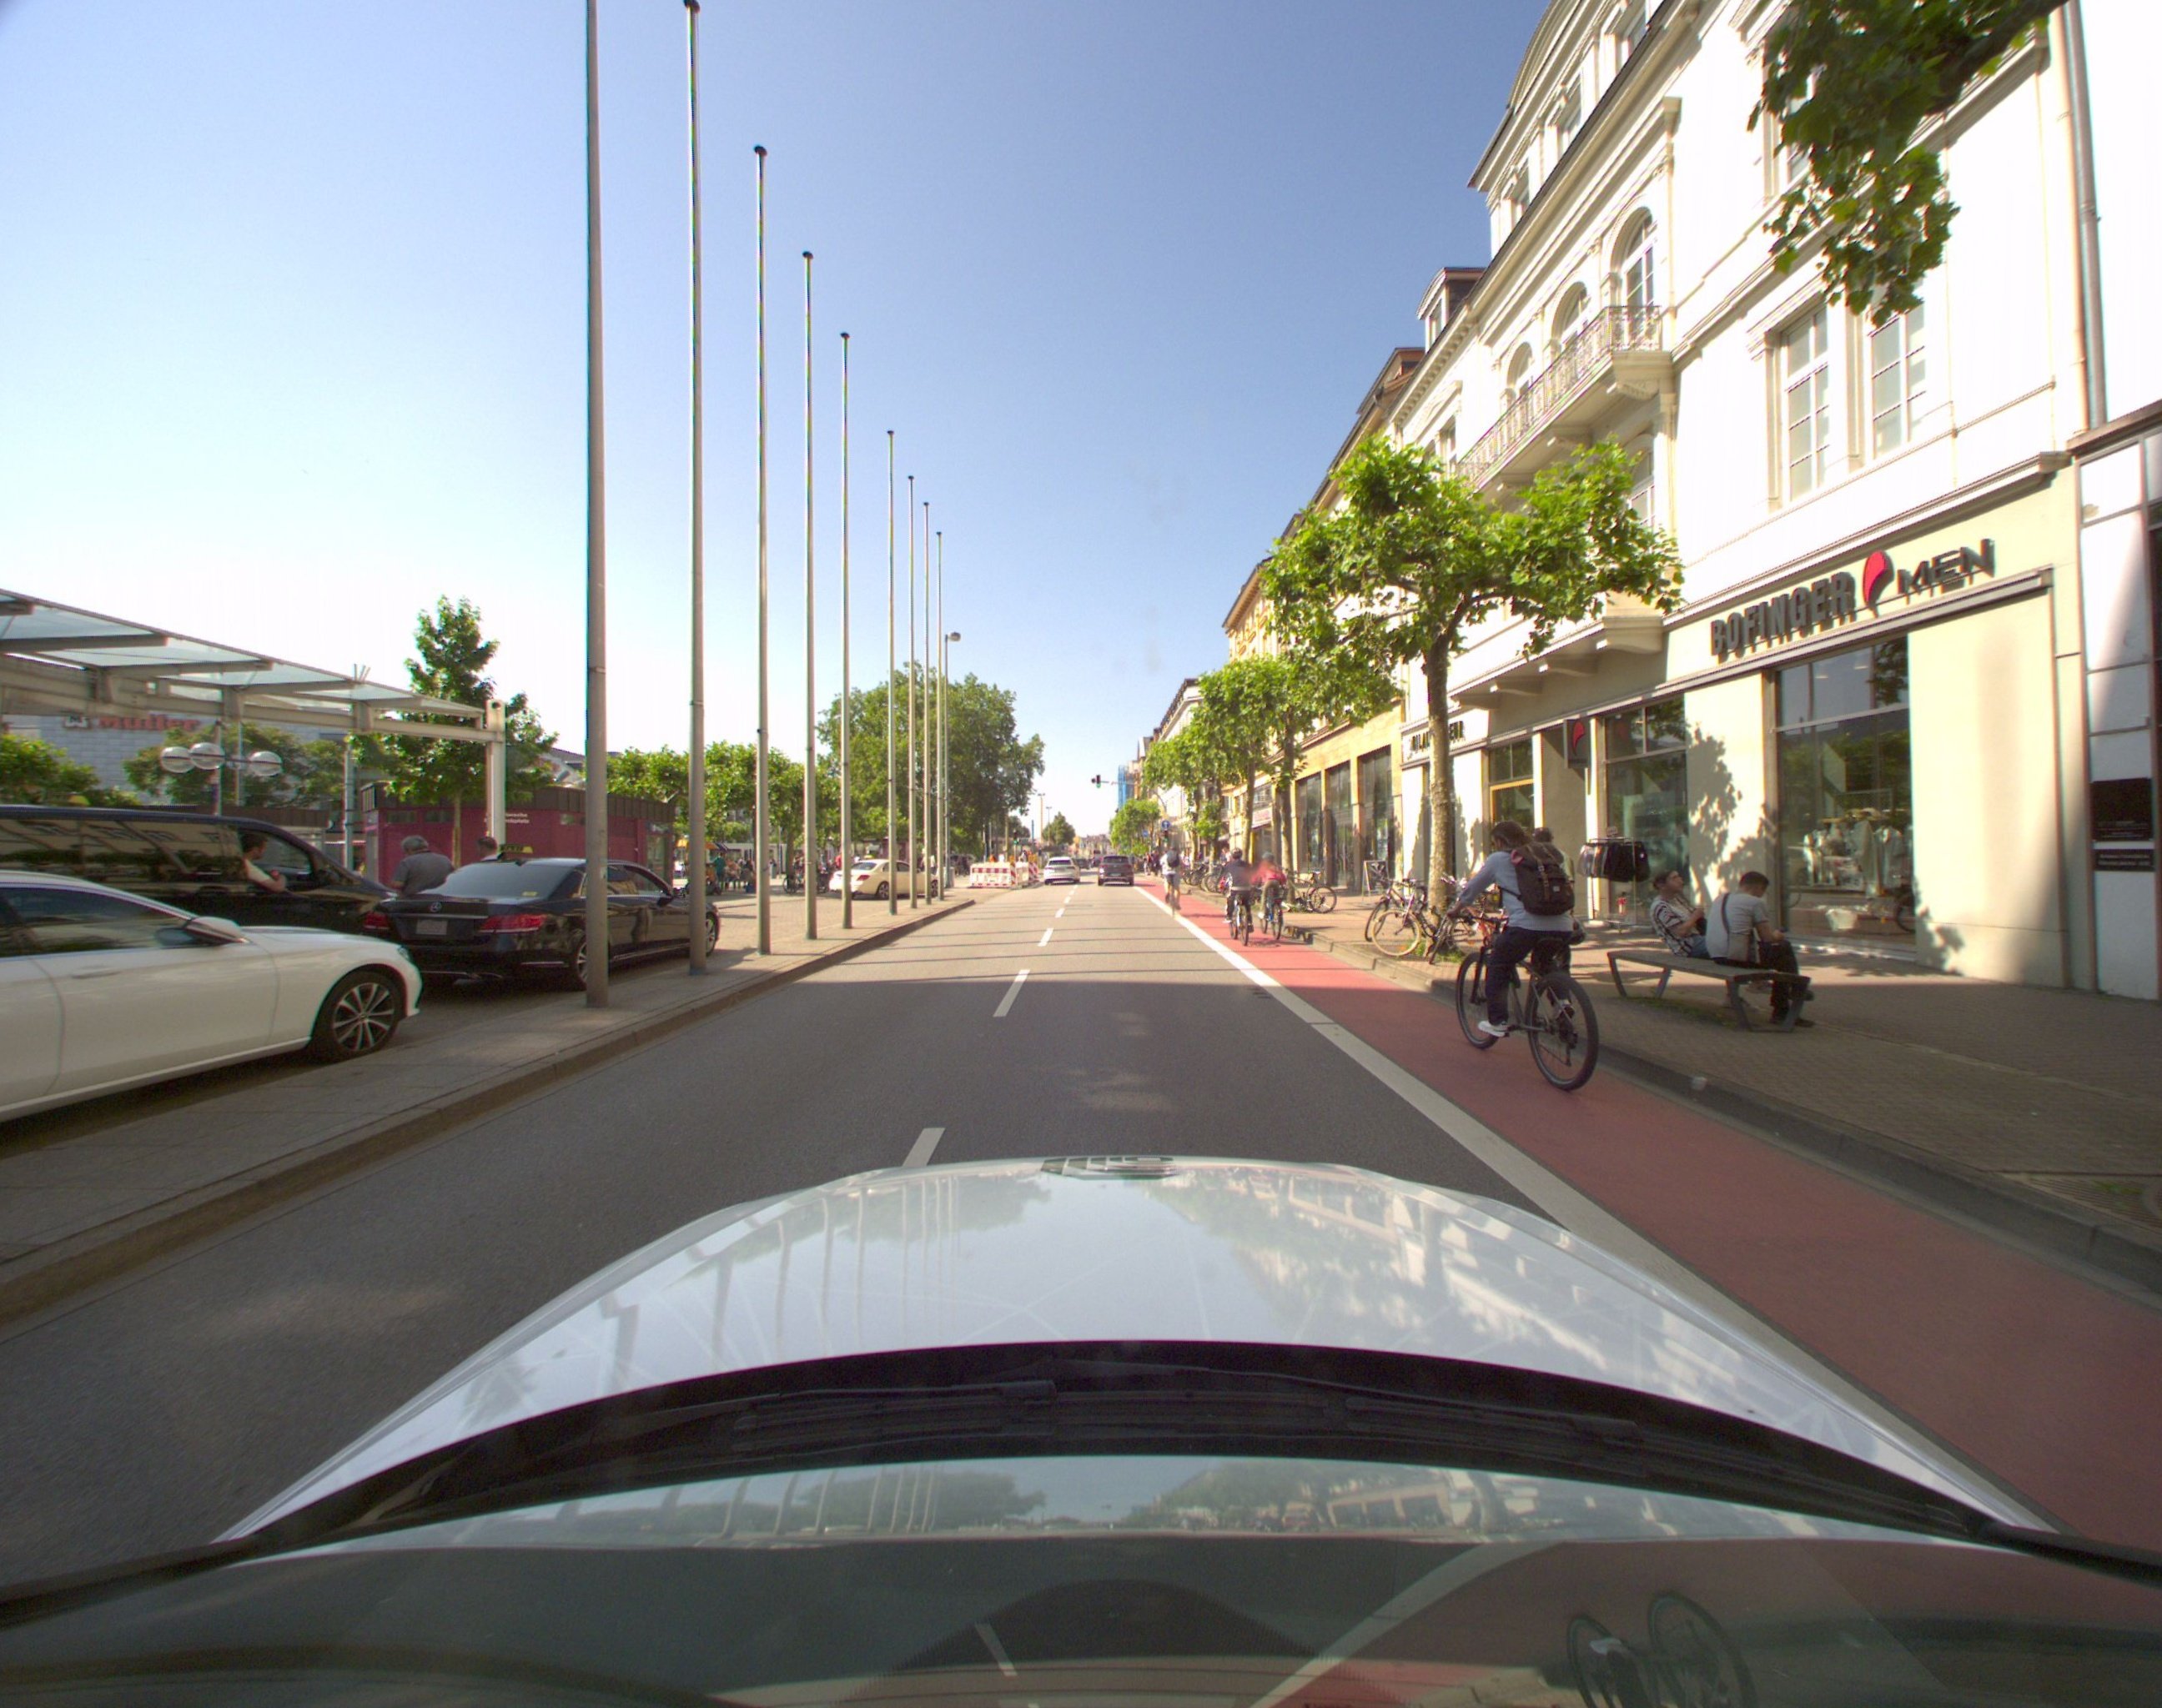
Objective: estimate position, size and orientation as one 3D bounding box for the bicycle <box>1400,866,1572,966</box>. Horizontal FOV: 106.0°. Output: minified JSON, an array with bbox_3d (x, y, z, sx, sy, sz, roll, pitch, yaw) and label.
[{"bbox_3d":[5.059,0.750,10.270,1.830,1.197,0.675,0,-1,7],"label":"bicycle"}]

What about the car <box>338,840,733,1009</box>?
[{"bbox_3d":[-6.250,0.673,10.188,1.755,1.600,4.709,-1,0,0],"label":"car"}]

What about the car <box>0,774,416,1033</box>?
[{"bbox_3d":[-9.296,0.392,7.868,1.826,2.013,4.686,-1,0,1],"label":"car"}]

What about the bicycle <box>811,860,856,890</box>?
[{"bbox_3d":[-10.788,0.909,35.516,1.777,1.309,0.662,0,0,-3],"label":"bicycle"}]

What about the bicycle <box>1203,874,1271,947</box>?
[{"bbox_3d":[2.667,0.935,14.173,0.696,1.127,2.079,1,0,-3],"label":"bicycle"}]

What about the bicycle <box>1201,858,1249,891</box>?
[{"bbox_3d":[5.369,0.754,30.452,1.721,1.217,0.478,0,0,2],"label":"bicycle"}]

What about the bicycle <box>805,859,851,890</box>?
[{"bbox_3d":[-10.734,0.872,34.584,1.777,1.309,0.662,0,0,-3],"label":"bicycle"}]

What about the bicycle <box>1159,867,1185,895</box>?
[{"bbox_3d":[3.528,1.033,31.594,0.771,1.006,2.330,-1,0,1],"label":"bicycle"}]

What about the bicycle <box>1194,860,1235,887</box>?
[{"bbox_3d":[5.606,0.821,34.150,1.642,1.095,0.607,0,0,3],"label":"bicycle"}]

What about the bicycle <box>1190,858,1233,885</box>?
[{"bbox_3d":[5.757,0.773,36.086,1.836,1.201,0.474,0,0,2],"label":"bicycle"}]

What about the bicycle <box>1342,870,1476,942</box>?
[{"bbox_3d":[5.189,0.810,12.990,1.831,1.097,0.795,0,0,5],"label":"bicycle"}]

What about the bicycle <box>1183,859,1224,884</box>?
[{"bbox_3d":[5.706,0.808,38.028,1.836,1.164,0.659,0,0,3],"label":"bicycle"}]

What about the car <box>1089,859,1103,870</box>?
[{"bbox_3d":[2.316,1.571,127.539,1.840,1.668,3.996,1,0,-3],"label":"car"}]

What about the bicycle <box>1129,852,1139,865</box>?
[{"bbox_3d":[4.080,0.354,62.722,0.645,0.998,2.031,-1,0,1],"label":"bicycle"}]

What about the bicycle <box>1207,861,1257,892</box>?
[{"bbox_3d":[5.444,0.815,29.365,1.721,1.109,0.478,0,0,2],"label":"bicycle"}]

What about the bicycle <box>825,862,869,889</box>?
[{"bbox_3d":[-10.607,0.970,36.904,1.777,1.215,0.662,0,0,-3],"label":"bicycle"}]

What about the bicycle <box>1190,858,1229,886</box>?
[{"bbox_3d":[5.623,0.771,35.673,1.642,1.201,0.474,0,0,2],"label":"bicycle"}]

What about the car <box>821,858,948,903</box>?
[{"bbox_3d":[-7.287,0.927,30.773,1.873,1.542,4.891,0,-1,28],"label":"car"}]

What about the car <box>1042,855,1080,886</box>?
[{"bbox_3d":[-1.057,0.877,44.213,1.839,1.560,4.001,-2,0,1],"label":"car"}]

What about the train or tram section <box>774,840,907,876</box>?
[{"bbox_3d":[-25.936,0.378,89.285,2.587,3.676,15.646,-1,0,36],"label":"train or tram section"}]

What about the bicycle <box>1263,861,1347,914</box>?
[{"bbox_3d":[5.232,0.769,19.099,1.831,1.186,0.671,1,-1,5],"label":"bicycle"}]

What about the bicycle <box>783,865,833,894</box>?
[{"bbox_3d":[-10.960,1.006,32.724,1.777,1.132,0.562,0,0,-3],"label":"bicycle"}]

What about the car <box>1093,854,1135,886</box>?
[{"bbox_3d":[1.632,0.770,41.074,1.840,1.559,3.997,0,0,-2],"label":"car"}]

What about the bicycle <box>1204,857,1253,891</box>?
[{"bbox_3d":[5.366,0.741,29.727,1.721,1.217,0.478,0,0,2],"label":"bicycle"}]

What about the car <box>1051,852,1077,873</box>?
[{"bbox_3d":[-1.255,0.613,61.144,1.840,1.449,3.999,-2,0,0],"label":"car"}]

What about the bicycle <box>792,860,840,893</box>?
[{"bbox_3d":[-10.839,0.916,33.295,1.777,1.309,0.562,0,0,-3],"label":"bicycle"}]

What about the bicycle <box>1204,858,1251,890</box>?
[{"bbox_3d":[5.562,0.759,30.942,1.721,1.217,0.478,0,0,2],"label":"bicycle"}]

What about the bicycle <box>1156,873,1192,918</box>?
[{"bbox_3d":[2.235,0.987,19.820,0.628,0.980,2.088,-1,0,0],"label":"bicycle"}]

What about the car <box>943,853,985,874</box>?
[{"bbox_3d":[-11.132,0.933,77.762,1.843,1.955,4.786,-1,-1,22],"label":"car"}]

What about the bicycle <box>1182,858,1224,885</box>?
[{"bbox_3d":[5.533,0.775,36.893,1.836,1.201,0.545,0,0,2],"label":"bicycle"}]

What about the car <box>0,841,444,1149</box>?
[{"bbox_3d":[-6.228,0.690,4.390,1.793,1.523,4.739,0,0,1],"label":"car"}]

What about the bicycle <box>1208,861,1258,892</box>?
[{"bbox_3d":[5.402,0.798,28.946,1.721,1.109,0.402,0,0,2],"label":"bicycle"}]

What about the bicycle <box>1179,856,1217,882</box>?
[{"bbox_3d":[5.917,0.761,41.213,1.827,1.309,0.684,0,0,-20],"label":"bicycle"}]

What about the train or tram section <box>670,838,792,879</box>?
[{"bbox_3d":[-33.581,0.385,78.842,2.587,3.677,11.072,-1,0,36],"label":"train or tram section"}]

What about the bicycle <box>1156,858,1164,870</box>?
[{"bbox_3d":[7.348,0.930,75.778,0.396,1.114,1.433,-2,0,22],"label":"bicycle"}]

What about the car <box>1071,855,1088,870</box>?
[{"bbox_3d":[-0.166,0.952,88.054,1.840,1.560,3.999,-1,0,0],"label":"car"}]

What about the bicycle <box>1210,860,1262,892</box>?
[{"bbox_3d":[5.420,0.767,28.532,1.721,1.109,0.402,0,0,2],"label":"bicycle"}]

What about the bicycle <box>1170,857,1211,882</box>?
[{"bbox_3d":[5.619,0.772,41.812,1.938,1.257,0.701,0,0,-19],"label":"bicycle"}]

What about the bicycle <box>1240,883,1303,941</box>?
[{"bbox_3d":[3.489,1.028,15.090,0.598,0.926,2.086,-1,0,-2],"label":"bicycle"}]

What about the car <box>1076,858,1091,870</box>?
[{"bbox_3d":[0.301,1.290,105.538,1.840,1.413,3.999,-1,0,0],"label":"car"}]

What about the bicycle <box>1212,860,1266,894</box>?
[{"bbox_3d":[5.356,0.774,27.680,1.721,1.109,0.737,0,0,3],"label":"bicycle"}]

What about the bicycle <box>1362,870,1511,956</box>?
[{"bbox_3d":[4.910,0.796,11.336,1.828,1.127,0.499,1,-1,11],"label":"bicycle"}]

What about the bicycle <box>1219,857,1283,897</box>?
[{"bbox_3d":[5.467,0.723,26.198,1.923,1.248,0.737,0,0,3],"label":"bicycle"}]

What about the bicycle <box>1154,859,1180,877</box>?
[{"bbox_3d":[5.525,0.928,52.500,0.604,1.082,1.820,-3,0,-34],"label":"bicycle"}]

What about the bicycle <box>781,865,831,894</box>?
[{"bbox_3d":[-10.817,1.002,32.035,1.777,1.105,0.562,0,0,-3],"label":"bicycle"}]

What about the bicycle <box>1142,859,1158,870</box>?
[{"bbox_3d":[6.516,1.030,76.832,1.415,0.980,0.445,-2,0,1],"label":"bicycle"}]

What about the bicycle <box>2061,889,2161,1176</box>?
[{"bbox_3d":[5.448,0.789,3.908,1.784,1.197,0.572,0,-1,-27],"label":"bicycle"}]

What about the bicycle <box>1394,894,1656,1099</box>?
[{"bbox_3d":[3.046,0.898,5.887,0.696,1.127,2.079,1,0,-3],"label":"bicycle"}]

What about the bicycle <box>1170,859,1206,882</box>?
[{"bbox_3d":[5.611,0.867,42.692,1.777,1.122,0.562,-1,0,-3],"label":"bicycle"}]

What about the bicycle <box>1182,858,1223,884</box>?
[{"bbox_3d":[5.577,0.783,37.398,1.836,1.201,0.609,0,0,3],"label":"bicycle"}]
